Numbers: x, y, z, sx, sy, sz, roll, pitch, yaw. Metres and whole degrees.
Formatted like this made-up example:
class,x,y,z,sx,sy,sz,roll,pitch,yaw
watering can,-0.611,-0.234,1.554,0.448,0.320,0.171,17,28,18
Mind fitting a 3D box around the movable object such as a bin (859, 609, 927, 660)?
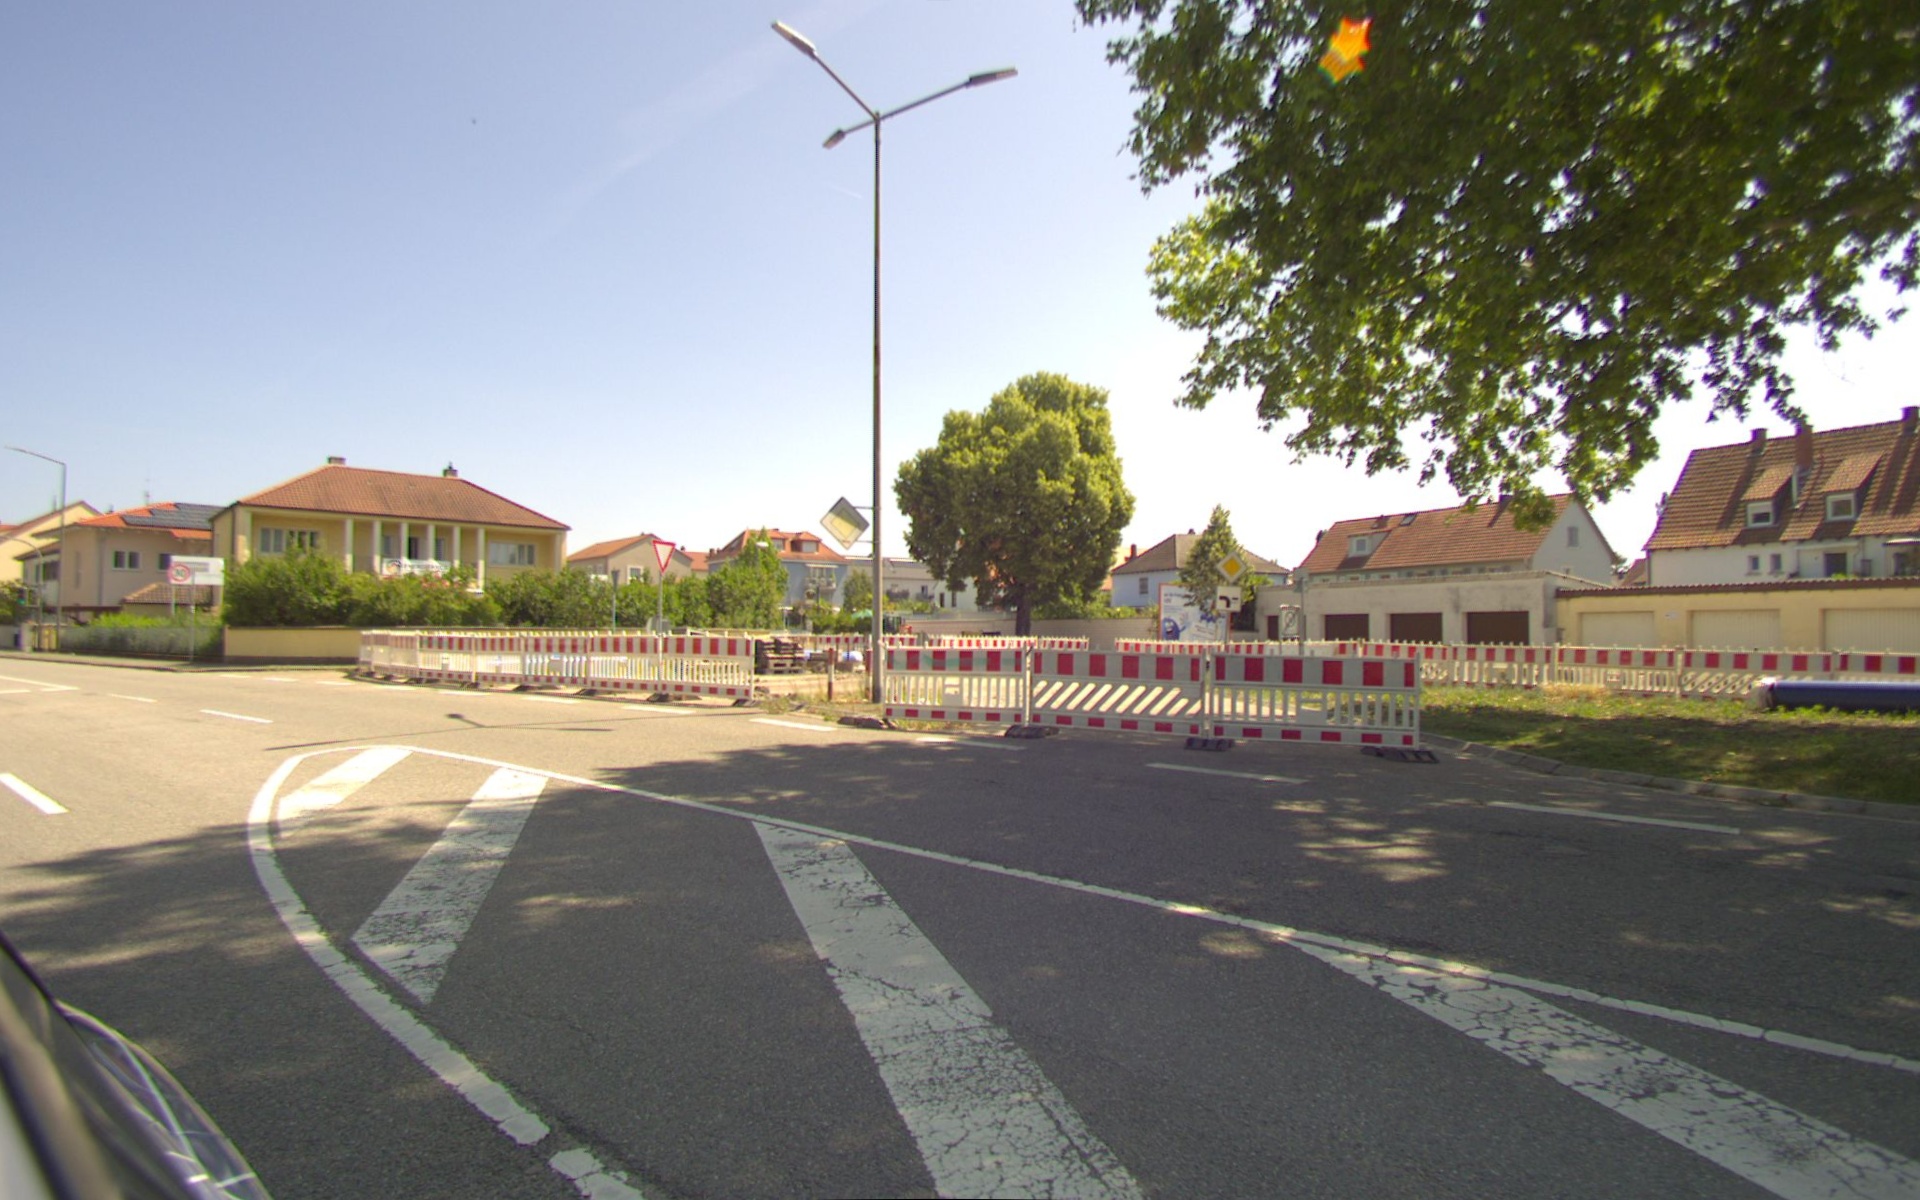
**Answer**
class,x,y,z,sx,sy,sz,roll,pitch,yaw
movable object such as a bin,-3.794,1.936,56.516,2.239,2.756,3.942,2,-3,-30
